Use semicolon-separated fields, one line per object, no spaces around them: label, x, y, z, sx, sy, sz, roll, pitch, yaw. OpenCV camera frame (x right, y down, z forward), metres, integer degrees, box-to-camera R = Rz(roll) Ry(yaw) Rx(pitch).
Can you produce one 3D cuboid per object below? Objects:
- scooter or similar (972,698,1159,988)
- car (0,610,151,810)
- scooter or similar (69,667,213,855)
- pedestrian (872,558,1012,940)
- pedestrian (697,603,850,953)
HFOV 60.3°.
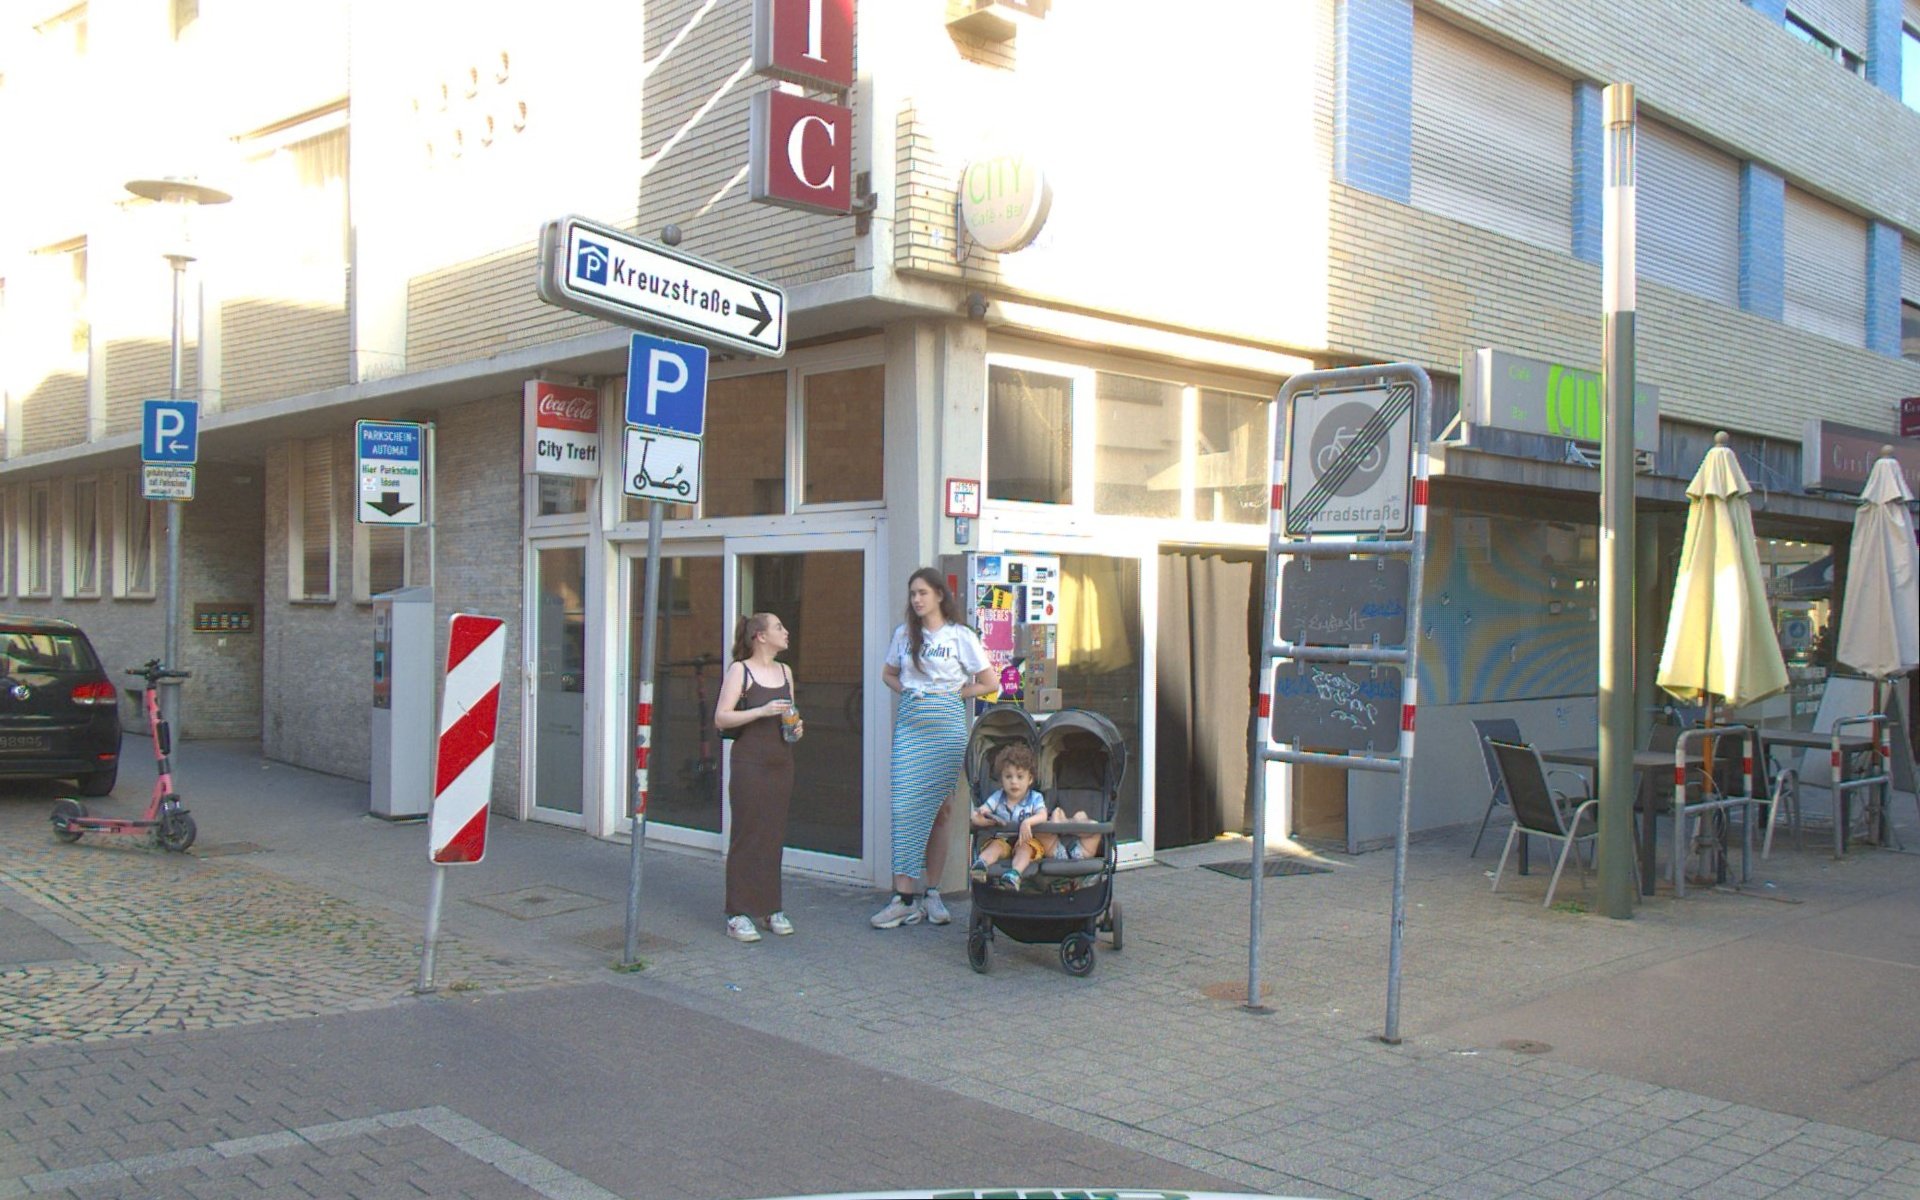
scooter or similar;0.454;1.066;7.530;0.780;1.164;0.954;1;0;0
car;-8.509;0.845;14.225;1.727;1.512;3.751;4;-2;-43
scooter or similar;-5.417;1.054;10.940;0.861;1.204;0.208;1;-1;7
pedestrian;-0.092;0.724;8.366;0.644;1.851;0.570;-1;1;-1
pedestrian;-0.907;0.827;8.030;0.528;1.607;0.504;-2;1;-37
